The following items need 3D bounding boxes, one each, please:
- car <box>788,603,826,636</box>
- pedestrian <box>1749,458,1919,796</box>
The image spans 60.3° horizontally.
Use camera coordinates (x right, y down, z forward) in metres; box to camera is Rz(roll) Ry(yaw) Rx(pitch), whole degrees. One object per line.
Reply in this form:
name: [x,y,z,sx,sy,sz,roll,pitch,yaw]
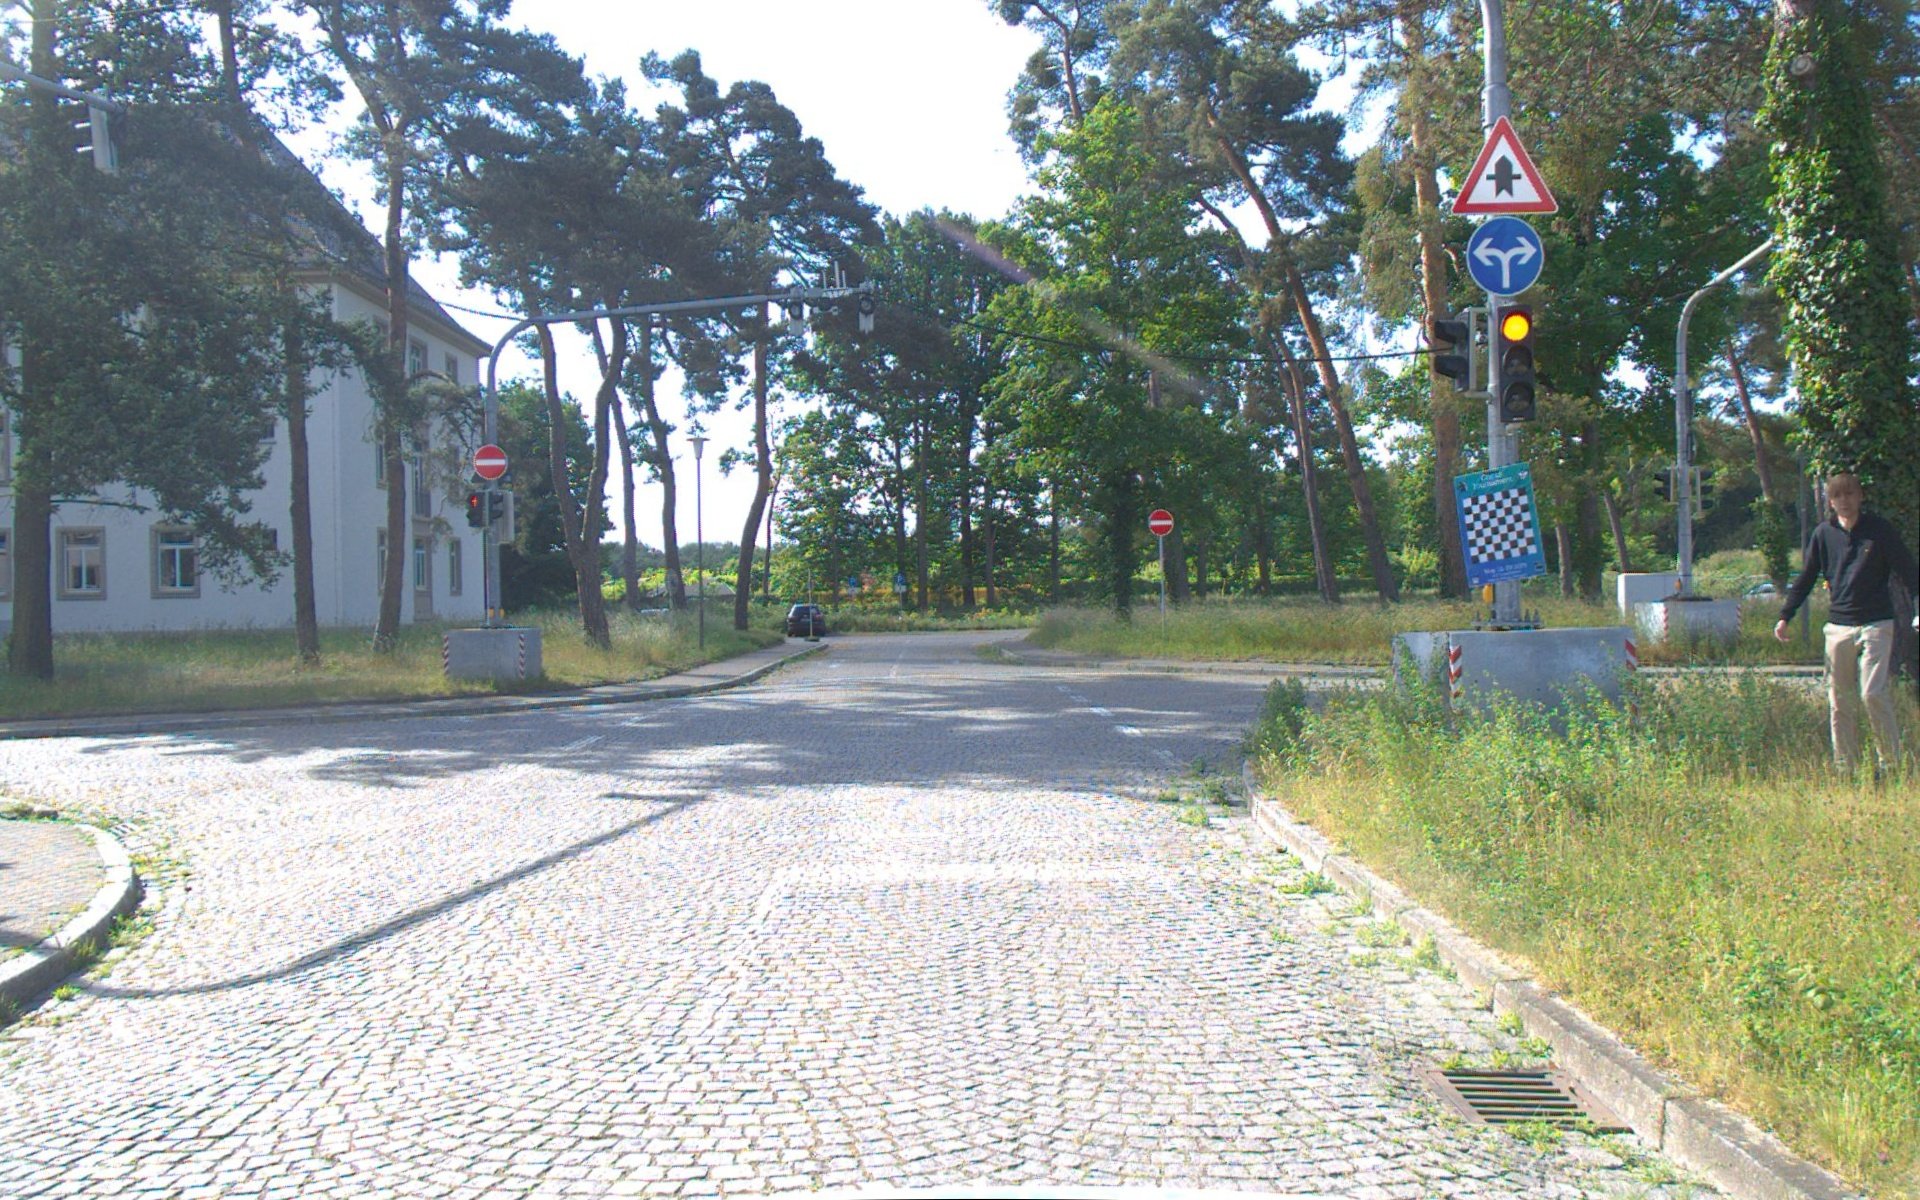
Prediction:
car: [-7.426,0.932,80.277,1.676,1.522,3.916,-2,0,-4]
pedestrian: [5.357,0.140,9.519,1.055,1.827,1.153,-2,0,-44]
